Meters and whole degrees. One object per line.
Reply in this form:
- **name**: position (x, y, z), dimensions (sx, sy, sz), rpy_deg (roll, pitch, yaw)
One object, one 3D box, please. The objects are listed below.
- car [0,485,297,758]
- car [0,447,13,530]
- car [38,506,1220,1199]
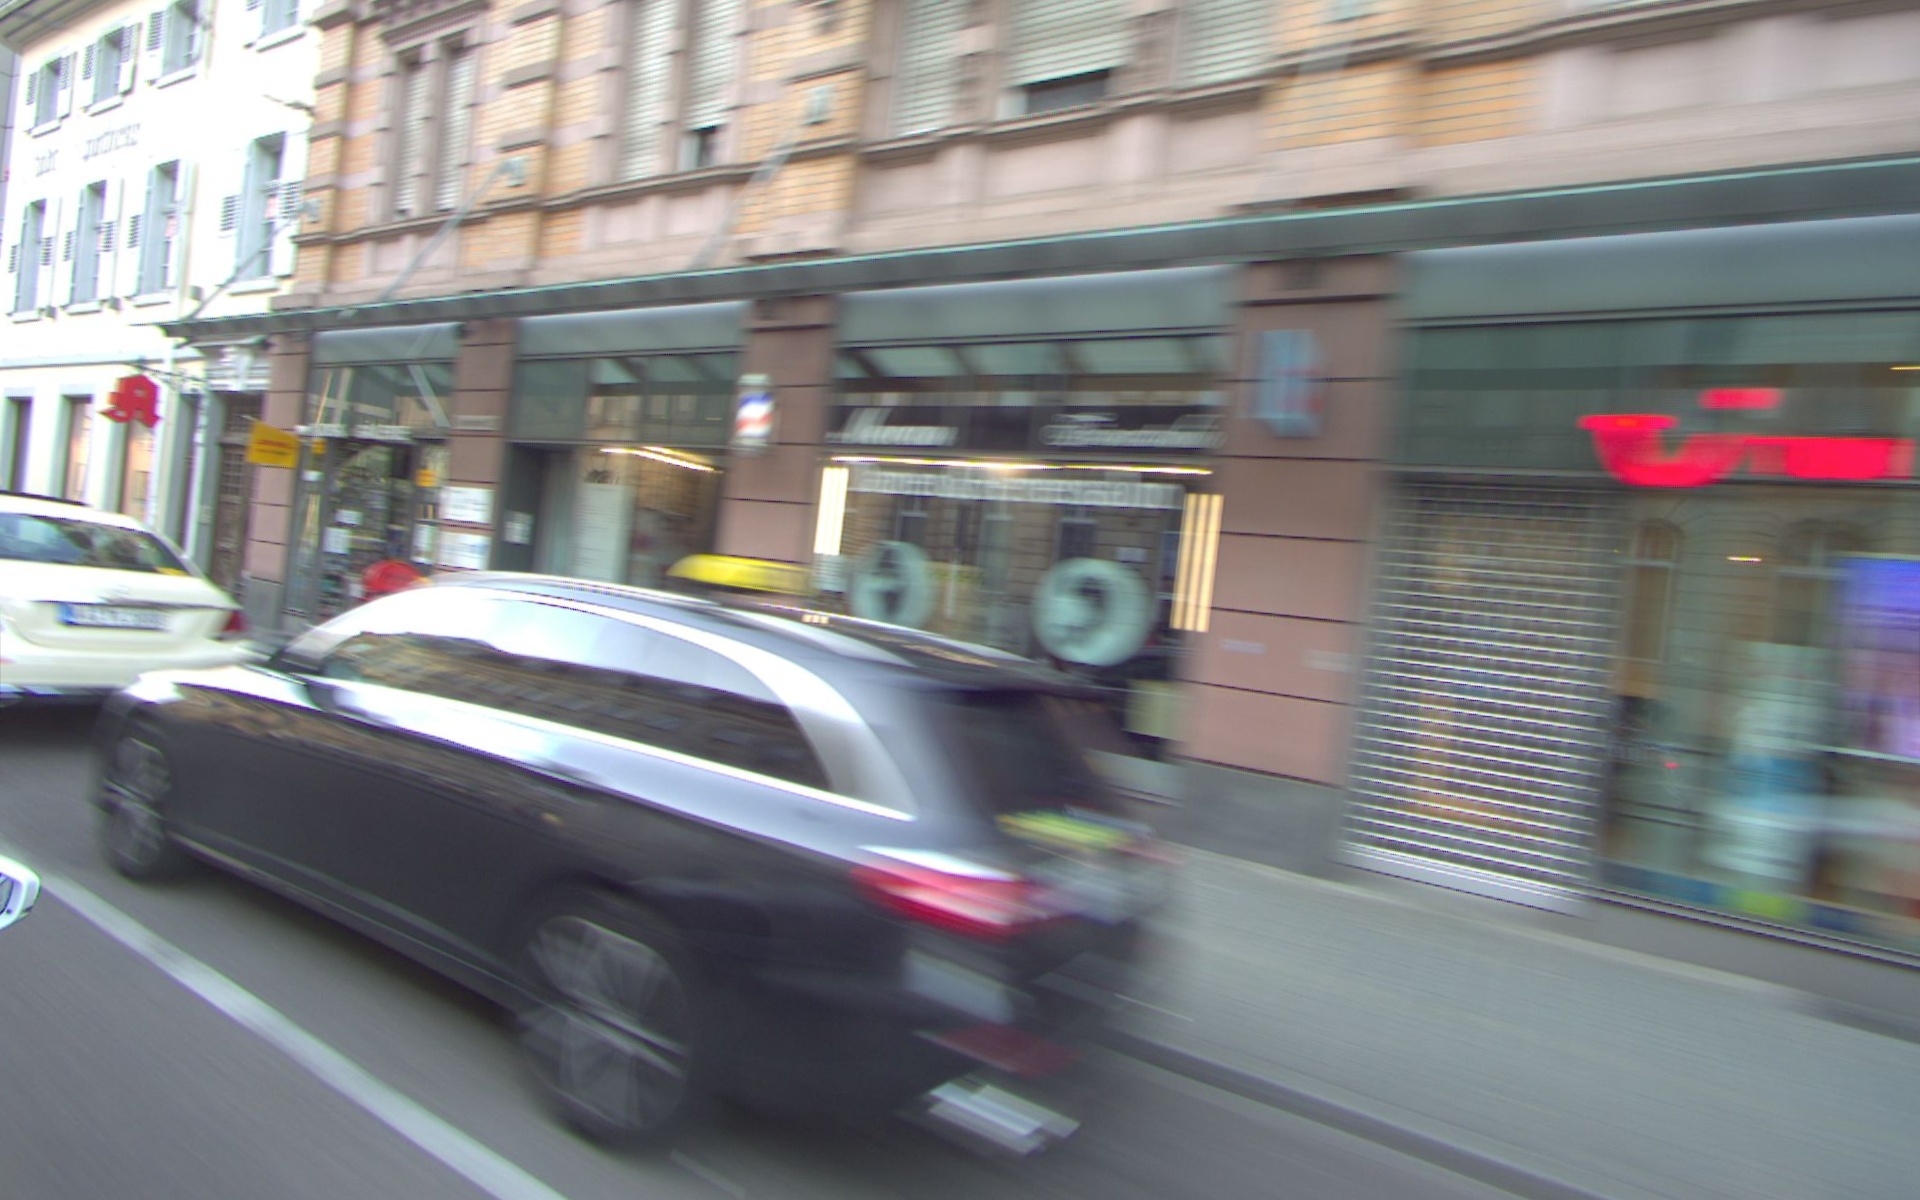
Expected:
- **car**: position (-7.041, -0.080, 7.278), dimensions (4.698, 1.501, 1.809), rpy_deg (7, 0, 31)
- **car**: position (-12.371, -0.925, 10.777), dimensions (4.621, 1.945, 1.881), rpy_deg (6, -3, 31)
- **car**: position (-1.611, 0.626, 4.057), dimensions (4.740, 1.494, 1.730), rpy_deg (6, -2, 31)
